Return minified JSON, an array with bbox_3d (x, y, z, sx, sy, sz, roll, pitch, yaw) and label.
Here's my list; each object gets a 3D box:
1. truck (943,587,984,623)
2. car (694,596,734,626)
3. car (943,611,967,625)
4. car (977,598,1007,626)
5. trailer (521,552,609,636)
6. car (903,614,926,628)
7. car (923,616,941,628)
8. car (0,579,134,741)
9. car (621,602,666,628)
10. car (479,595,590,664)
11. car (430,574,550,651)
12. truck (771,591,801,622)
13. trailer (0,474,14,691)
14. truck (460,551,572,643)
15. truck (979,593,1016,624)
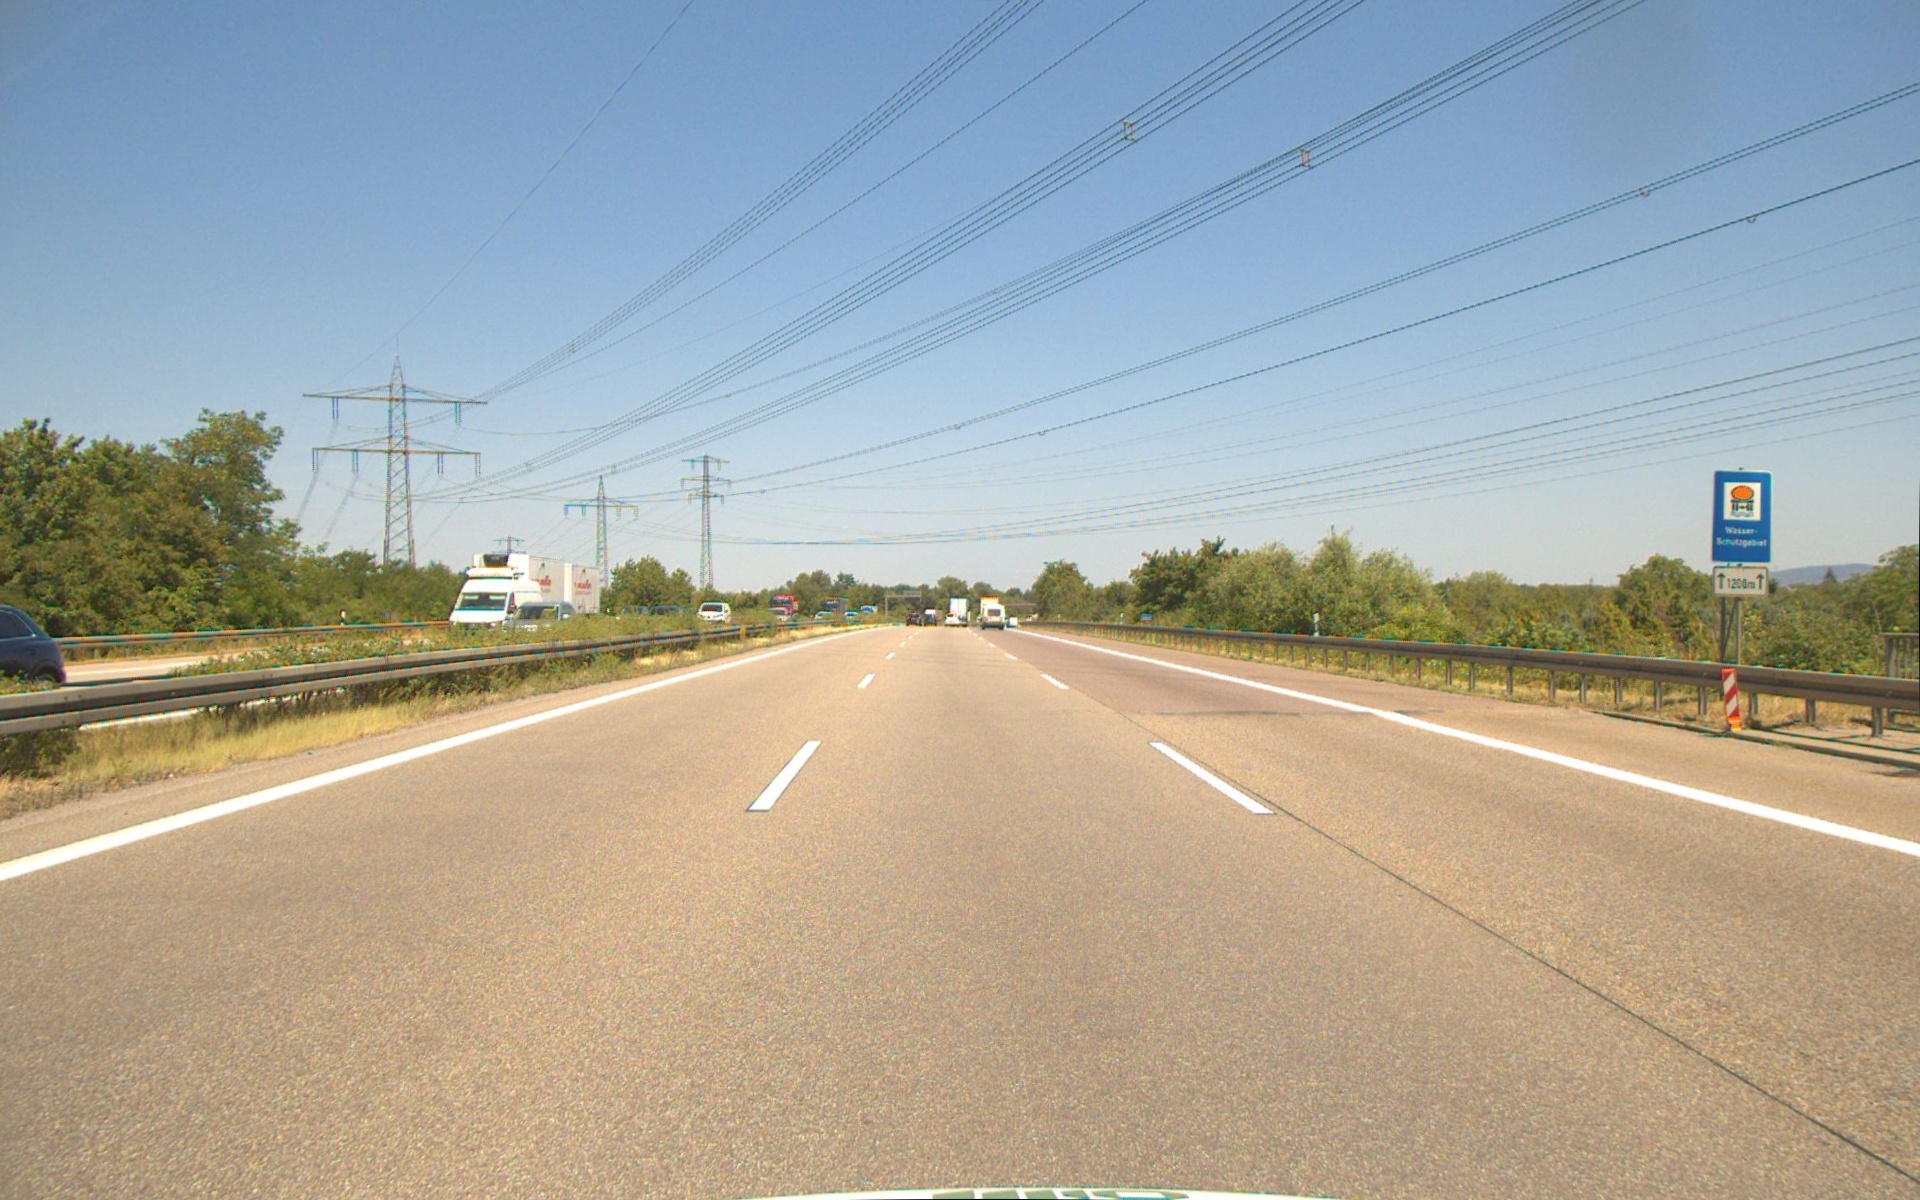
[{"bbox_3d":[0.659,0.728,246.461,3.588,5.106,16.030,1,0,9],"label":"truck"},{"bbox_3d":[-17.265,0.740,116.286,1.953,2.049,5.700,1,0,0],"label":"car"},{"bbox_3d":[-0.575,2.091,192.725,1.789,1.574,4.322,1,0,13],"label":"car"},{"bbox_3d":[2.758,1.023,144.238,2.393,2.362,5.320,0,0,-1],"label":"car"},{"bbox_3d":[-20.953,-0.318,88.126,2.784,4.237,8.325,1,0,-1],"label":"trailer"},{"bbox_3d":[-5.134,2.387,187.622,1.789,1.574,4.322,2,0,9],"label":"car"},{"bbox_3d":[-3.989,3.186,238.738,1.789,1.574,4.322,2,0,9],"label":"car"},{"bbox_3d":[-12.890,0.703,20.531,2.432,1.965,5.738,1,0,-1],"label":"car"},{"bbox_3d":[-20.849,0.975,109.128,1.953,1.613,5.066,1,0,0],"label":"car"},{"bbox_3d":[-13.550,0.896,52.970,2.432,2.049,4.556,1,0,-1],"label":"car"},{"bbox_3d":[-17.116,0.426,60.703,2.432,2.625,7.120,1,0,-1],"label":"car"},{"bbox_3d":[-21.207,0.763,201.529,2.714,3.588,8.532,1,0,0],"label":"truck"},{"bbox_3d":[-20.350,-0.342,26.384,2.374,4.364,14.429,1,0,-1],"label":"trailer"},{"bbox_3d":[-20.915,-0.155,78.597,2.637,4.019,10.590,1,0,-1],"label":"truck"},{"bbox_3d":[5.612,1.217,242.526,3.113,4.380,16.031,1,0,10],"label":"truck"}]
